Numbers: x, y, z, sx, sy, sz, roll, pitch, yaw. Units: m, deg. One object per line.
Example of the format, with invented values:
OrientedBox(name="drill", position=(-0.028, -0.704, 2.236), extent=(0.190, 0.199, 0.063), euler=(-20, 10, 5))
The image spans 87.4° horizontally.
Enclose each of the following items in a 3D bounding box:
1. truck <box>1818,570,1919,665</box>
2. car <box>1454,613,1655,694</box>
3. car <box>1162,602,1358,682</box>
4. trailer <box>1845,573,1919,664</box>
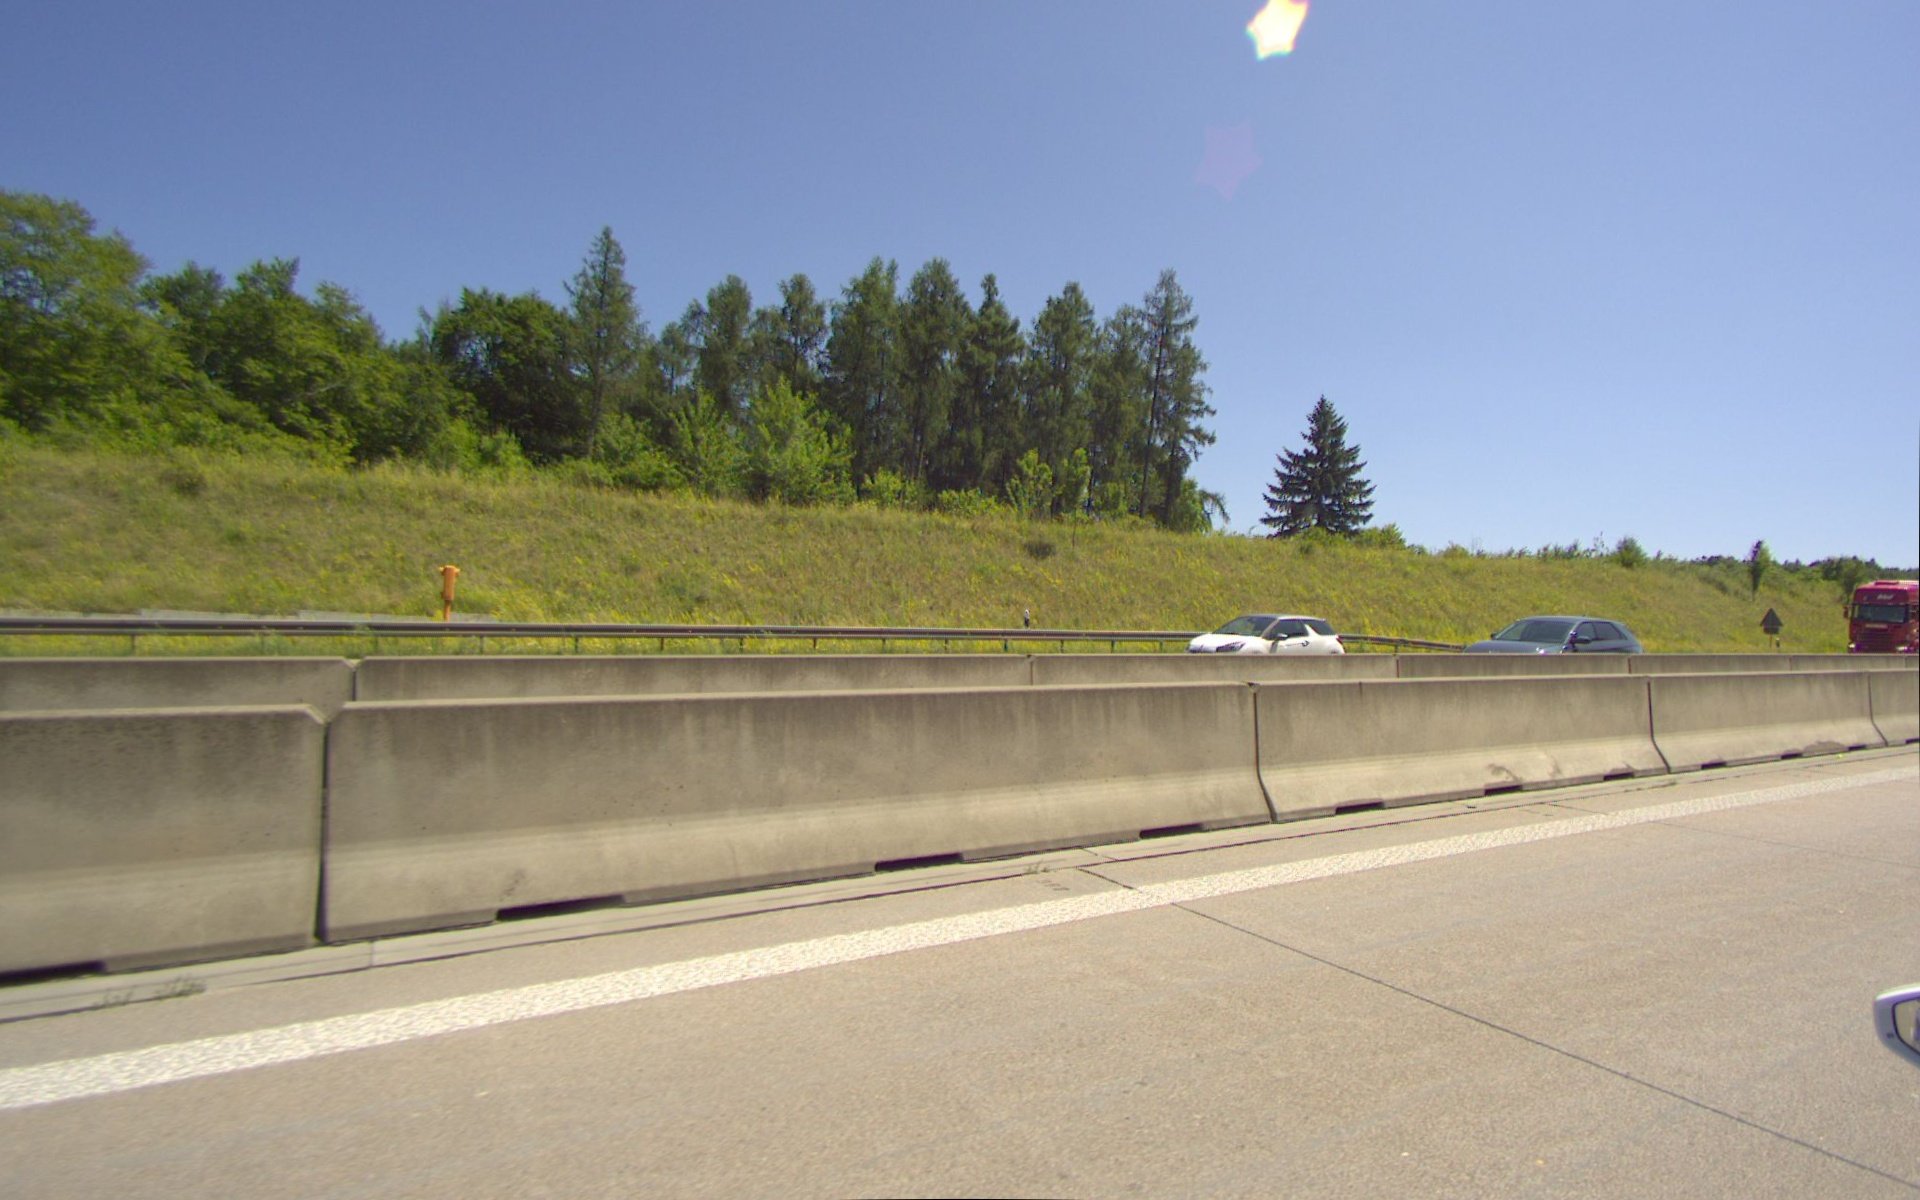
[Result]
OrientedBox(name="truck", position=(46.813, 0.916, 50.662), extent=(6.723, 4.490, 3.370), euler=(2, -1, -31))
OrientedBox(name="car", position=(12.822, 1.117, 21.643), extent=(4.148, 1.558, 1.983), euler=(2, 0, -31))
OrientedBox(name="car", position=(6.628, 0.899, 22.119), extent=(3.954, 1.585, 1.983), euler=(2, 0, -31))
OrientedBox(name="trailer", position=(52.774, 1.180, 54.260), extent=(13.765, 4.490, 3.370), euler=(2, -1, -31))
